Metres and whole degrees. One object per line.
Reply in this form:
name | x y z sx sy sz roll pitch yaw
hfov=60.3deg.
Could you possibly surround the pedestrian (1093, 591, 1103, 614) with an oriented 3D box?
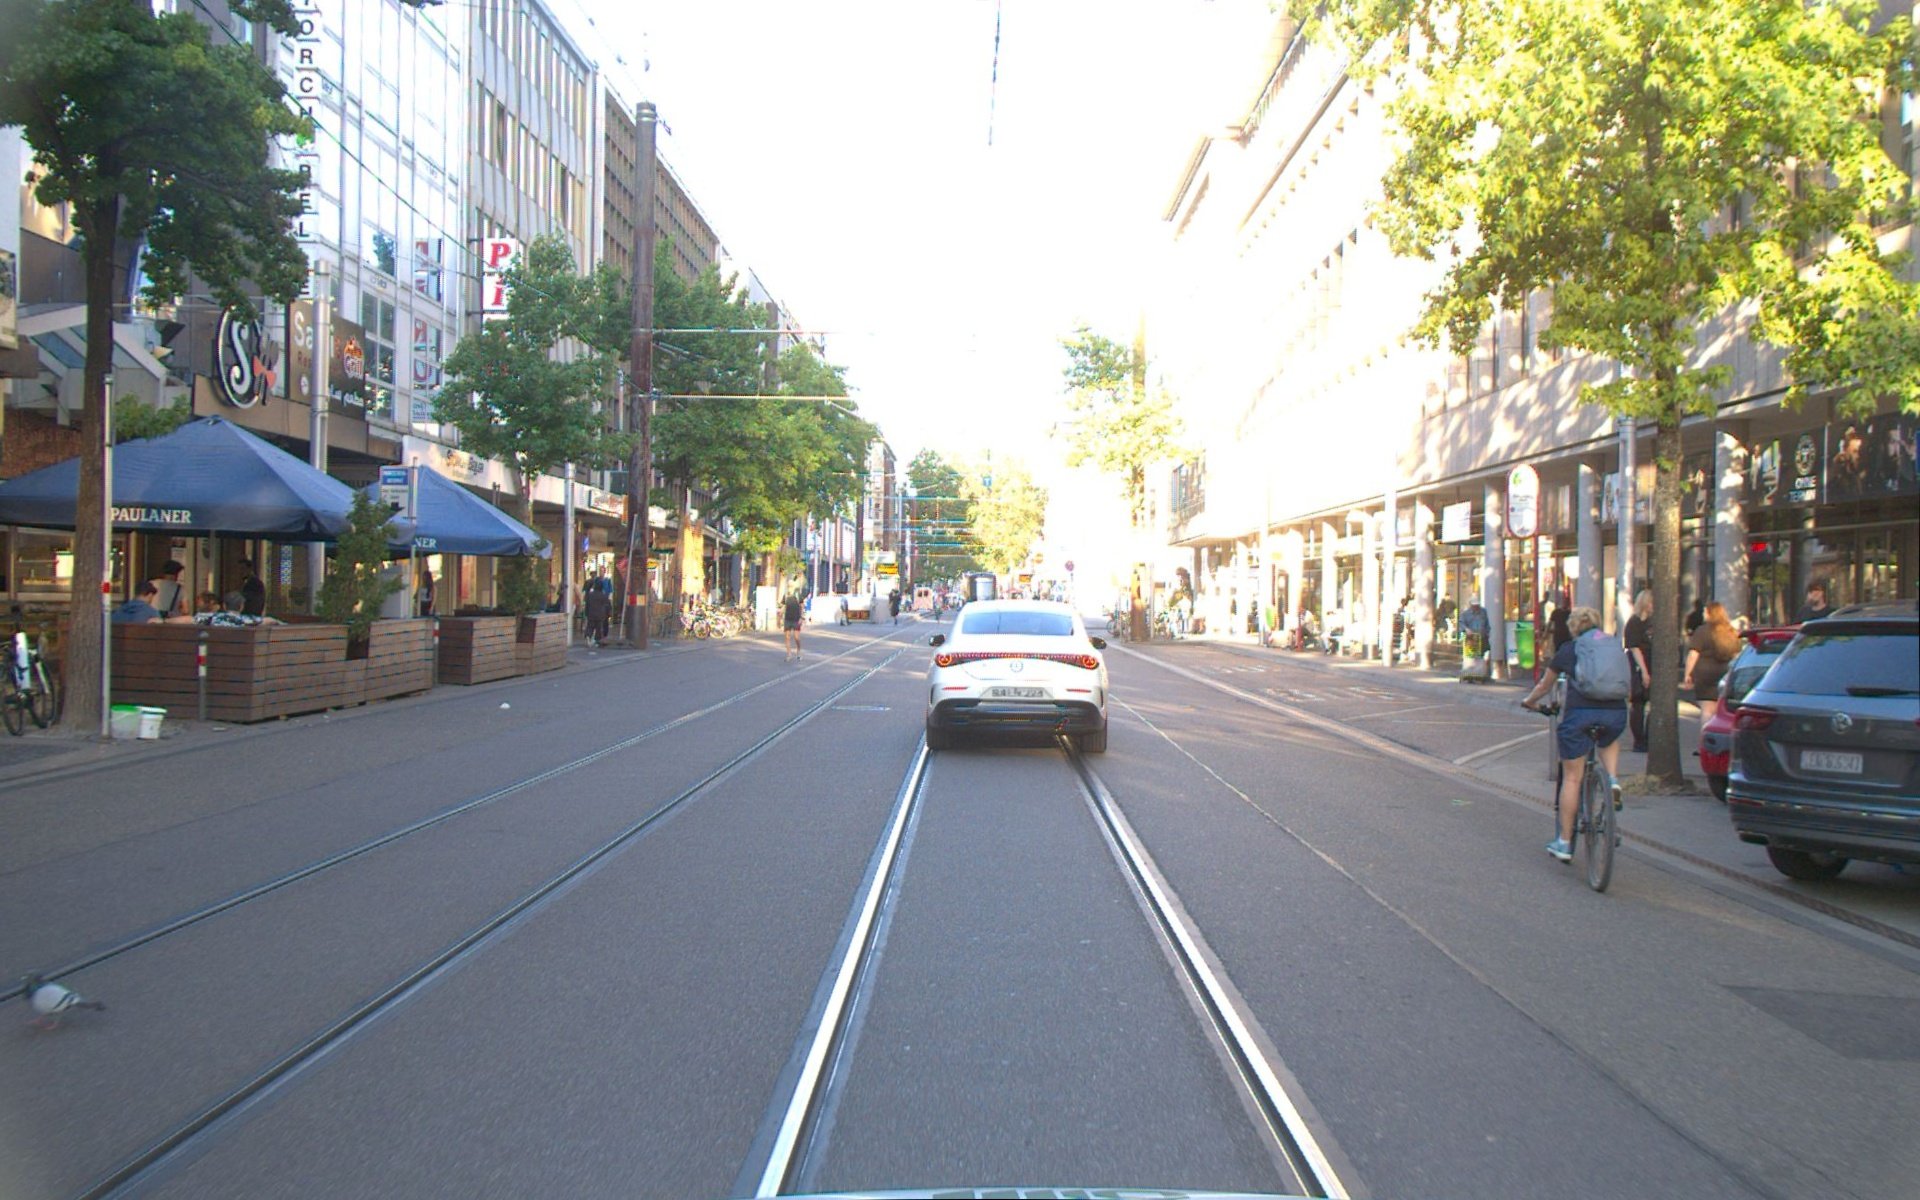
pedestrian | 10.793 0.178 128.969 0.712 1.817 0.707 1 0 0

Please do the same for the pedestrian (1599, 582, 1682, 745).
pedestrian | 7.381 0.676 17.928 0.667 1.715 0.694 -2 0 34

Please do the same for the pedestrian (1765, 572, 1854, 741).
pedestrian | 9.143 0.597 17.795 0.677 1.761 0.629 -2 0 43

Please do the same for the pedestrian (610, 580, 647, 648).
pedestrian | -7.858 0.323 39.218 0.609 1.577 0.852 3 0 1

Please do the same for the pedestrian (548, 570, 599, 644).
pedestrian | -9.539 0.180 40.800 0.832 1.771 0.835 2 0 21

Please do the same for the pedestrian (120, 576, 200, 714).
pedestrian | -8.677 0.481 17.946 0.538 1.454 0.582 2 0 0

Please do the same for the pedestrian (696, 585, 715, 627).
pedestrian | -10.232 0.248 66.588 0.700 1.668 0.684 0 0 -5

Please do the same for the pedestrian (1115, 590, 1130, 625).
pedestrian | 8.675 0.389 88.328 0.733 1.817 0.767 -1 0 0

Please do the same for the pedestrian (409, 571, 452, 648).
pedestrian | -10.957 0.191 34.237 0.585 1.559 0.671 2 0 1

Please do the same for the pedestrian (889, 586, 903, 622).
pedestrian | -3.521 0.217 91.356 0.531 1.963 0.569 0 0 44

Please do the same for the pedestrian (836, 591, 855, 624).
pedestrian | -5.996 0.373 86.756 0.886 1.728 0.849 1 0 1

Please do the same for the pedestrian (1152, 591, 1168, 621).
pedestrian | 11.513 0.357 95.240 0.820 1.691 0.785 1 0 3

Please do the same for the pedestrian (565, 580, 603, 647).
pedestrian | -8.884 0.315 39.137 0.609 1.535 0.833 3 0 1

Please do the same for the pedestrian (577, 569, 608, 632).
pedestrian | -10.987 0.014 49.452 0.609 1.835 0.933 3 0 1

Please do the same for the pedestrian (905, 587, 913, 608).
pedestrian | -4.011 -0.176 130.514 0.646 1.627 0.573 1 0 -1

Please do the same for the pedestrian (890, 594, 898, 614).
pedestrian | -5.429 0.338 135.382 0.646 1.627 0.573 1 0 -1

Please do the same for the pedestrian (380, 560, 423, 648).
pedestrian | -11.547 0.076 34.229 0.585 1.775 0.671 2 0 1

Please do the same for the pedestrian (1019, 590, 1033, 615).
pedestrian | 4.774 0.179 120.006 0.940 1.817 0.804 -1 0 0

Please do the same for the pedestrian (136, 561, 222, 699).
pedestrian | -9.493 0.357 20.118 0.659 1.635 0.720 2 0 0

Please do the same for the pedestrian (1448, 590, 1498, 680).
pedestrian | 9.407 0.637 30.331 0.667 1.600 0.632 2 0 1

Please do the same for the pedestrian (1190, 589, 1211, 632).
pedestrian | 10.496 0.459 72.081 0.687 1.844 1.033 -3 0 0

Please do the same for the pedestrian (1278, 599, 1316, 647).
pedestrian | 10.045 0.685 49.289 0.821 1.401 0.773 1 0 -22

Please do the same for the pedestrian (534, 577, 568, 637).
pedestrian | -10.866 0.184 43.929 0.609 1.552 0.809 3 0 1

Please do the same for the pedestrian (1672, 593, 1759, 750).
pedestrian | 7.869 0.730 17.230 0.597 1.579 0.685 -2 0 44

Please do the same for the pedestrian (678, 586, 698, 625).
pedestrian | -10.906 0.225 66.312 0.700 1.574 0.684 0 0 -5

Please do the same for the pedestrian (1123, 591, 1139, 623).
pedestrian | 9.935 0.415 96.354 0.823 1.817 0.804 -1 0 0

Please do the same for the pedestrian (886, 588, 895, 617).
pedestrian | -4.258 0.166 101.472 0.509 1.791 0.551 1 0 -2

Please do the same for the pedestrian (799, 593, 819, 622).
pedestrian | -8.056 0.400 88.165 0.936 1.522 0.944 1 0 1

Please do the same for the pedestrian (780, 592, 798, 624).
pedestrian | -9.373 0.416 90.689 0.820 1.747 0.785 1 0 3

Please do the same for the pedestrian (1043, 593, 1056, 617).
pedestrian | 6.785 0.390 125.903 0.940 1.817 0.804 -1 0 0

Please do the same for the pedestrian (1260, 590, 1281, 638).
pedestrian | 11.065 0.495 58.919 0.623 1.682 0.781 1 0 2

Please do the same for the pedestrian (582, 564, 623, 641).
pedestrian | -9.467 0.057 43.815 0.784 1.957 1.071 3 0 -2

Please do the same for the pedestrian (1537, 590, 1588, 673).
pedestrian | 12.044 0.617 33.075 0.681 1.617 0.926 1 0 1

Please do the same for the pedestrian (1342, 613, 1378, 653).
pedestrian | 10.731 0.875 44.386 0.818 1.049 0.696 1 0 5

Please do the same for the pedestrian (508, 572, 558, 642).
pedestrian | -10.440 0.172 40.416 0.831 1.666 0.762 2 0 21

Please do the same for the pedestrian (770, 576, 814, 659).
pedestrian | -3.805 0.393 37.594 0.824 1.832 0.790 2 0 2

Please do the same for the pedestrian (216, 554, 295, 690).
pedestrian | -9.318 0.285 21.903 0.703 1.755 0.675 2 0 0

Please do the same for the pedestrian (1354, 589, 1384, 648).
pedestrian | 12.448 0.544 50.357 0.701 1.771 0.835 1 0 1

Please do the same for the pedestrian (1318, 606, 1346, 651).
pedestrian | 10.300 0.782 45.813 0.652 1.219 0.785 1 0 5

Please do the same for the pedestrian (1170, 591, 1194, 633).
pedestrian | 9.749 0.535 72.567 0.881 1.775 0.689 -3 0 0

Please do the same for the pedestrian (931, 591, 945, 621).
pedestrian | -1.362 0.371 102.265 0.783 1.813 0.849 2 0 0

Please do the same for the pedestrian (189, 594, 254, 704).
pedestrian | -8.594 0.565 19.258 0.484 1.249 0.535 2 0 0
